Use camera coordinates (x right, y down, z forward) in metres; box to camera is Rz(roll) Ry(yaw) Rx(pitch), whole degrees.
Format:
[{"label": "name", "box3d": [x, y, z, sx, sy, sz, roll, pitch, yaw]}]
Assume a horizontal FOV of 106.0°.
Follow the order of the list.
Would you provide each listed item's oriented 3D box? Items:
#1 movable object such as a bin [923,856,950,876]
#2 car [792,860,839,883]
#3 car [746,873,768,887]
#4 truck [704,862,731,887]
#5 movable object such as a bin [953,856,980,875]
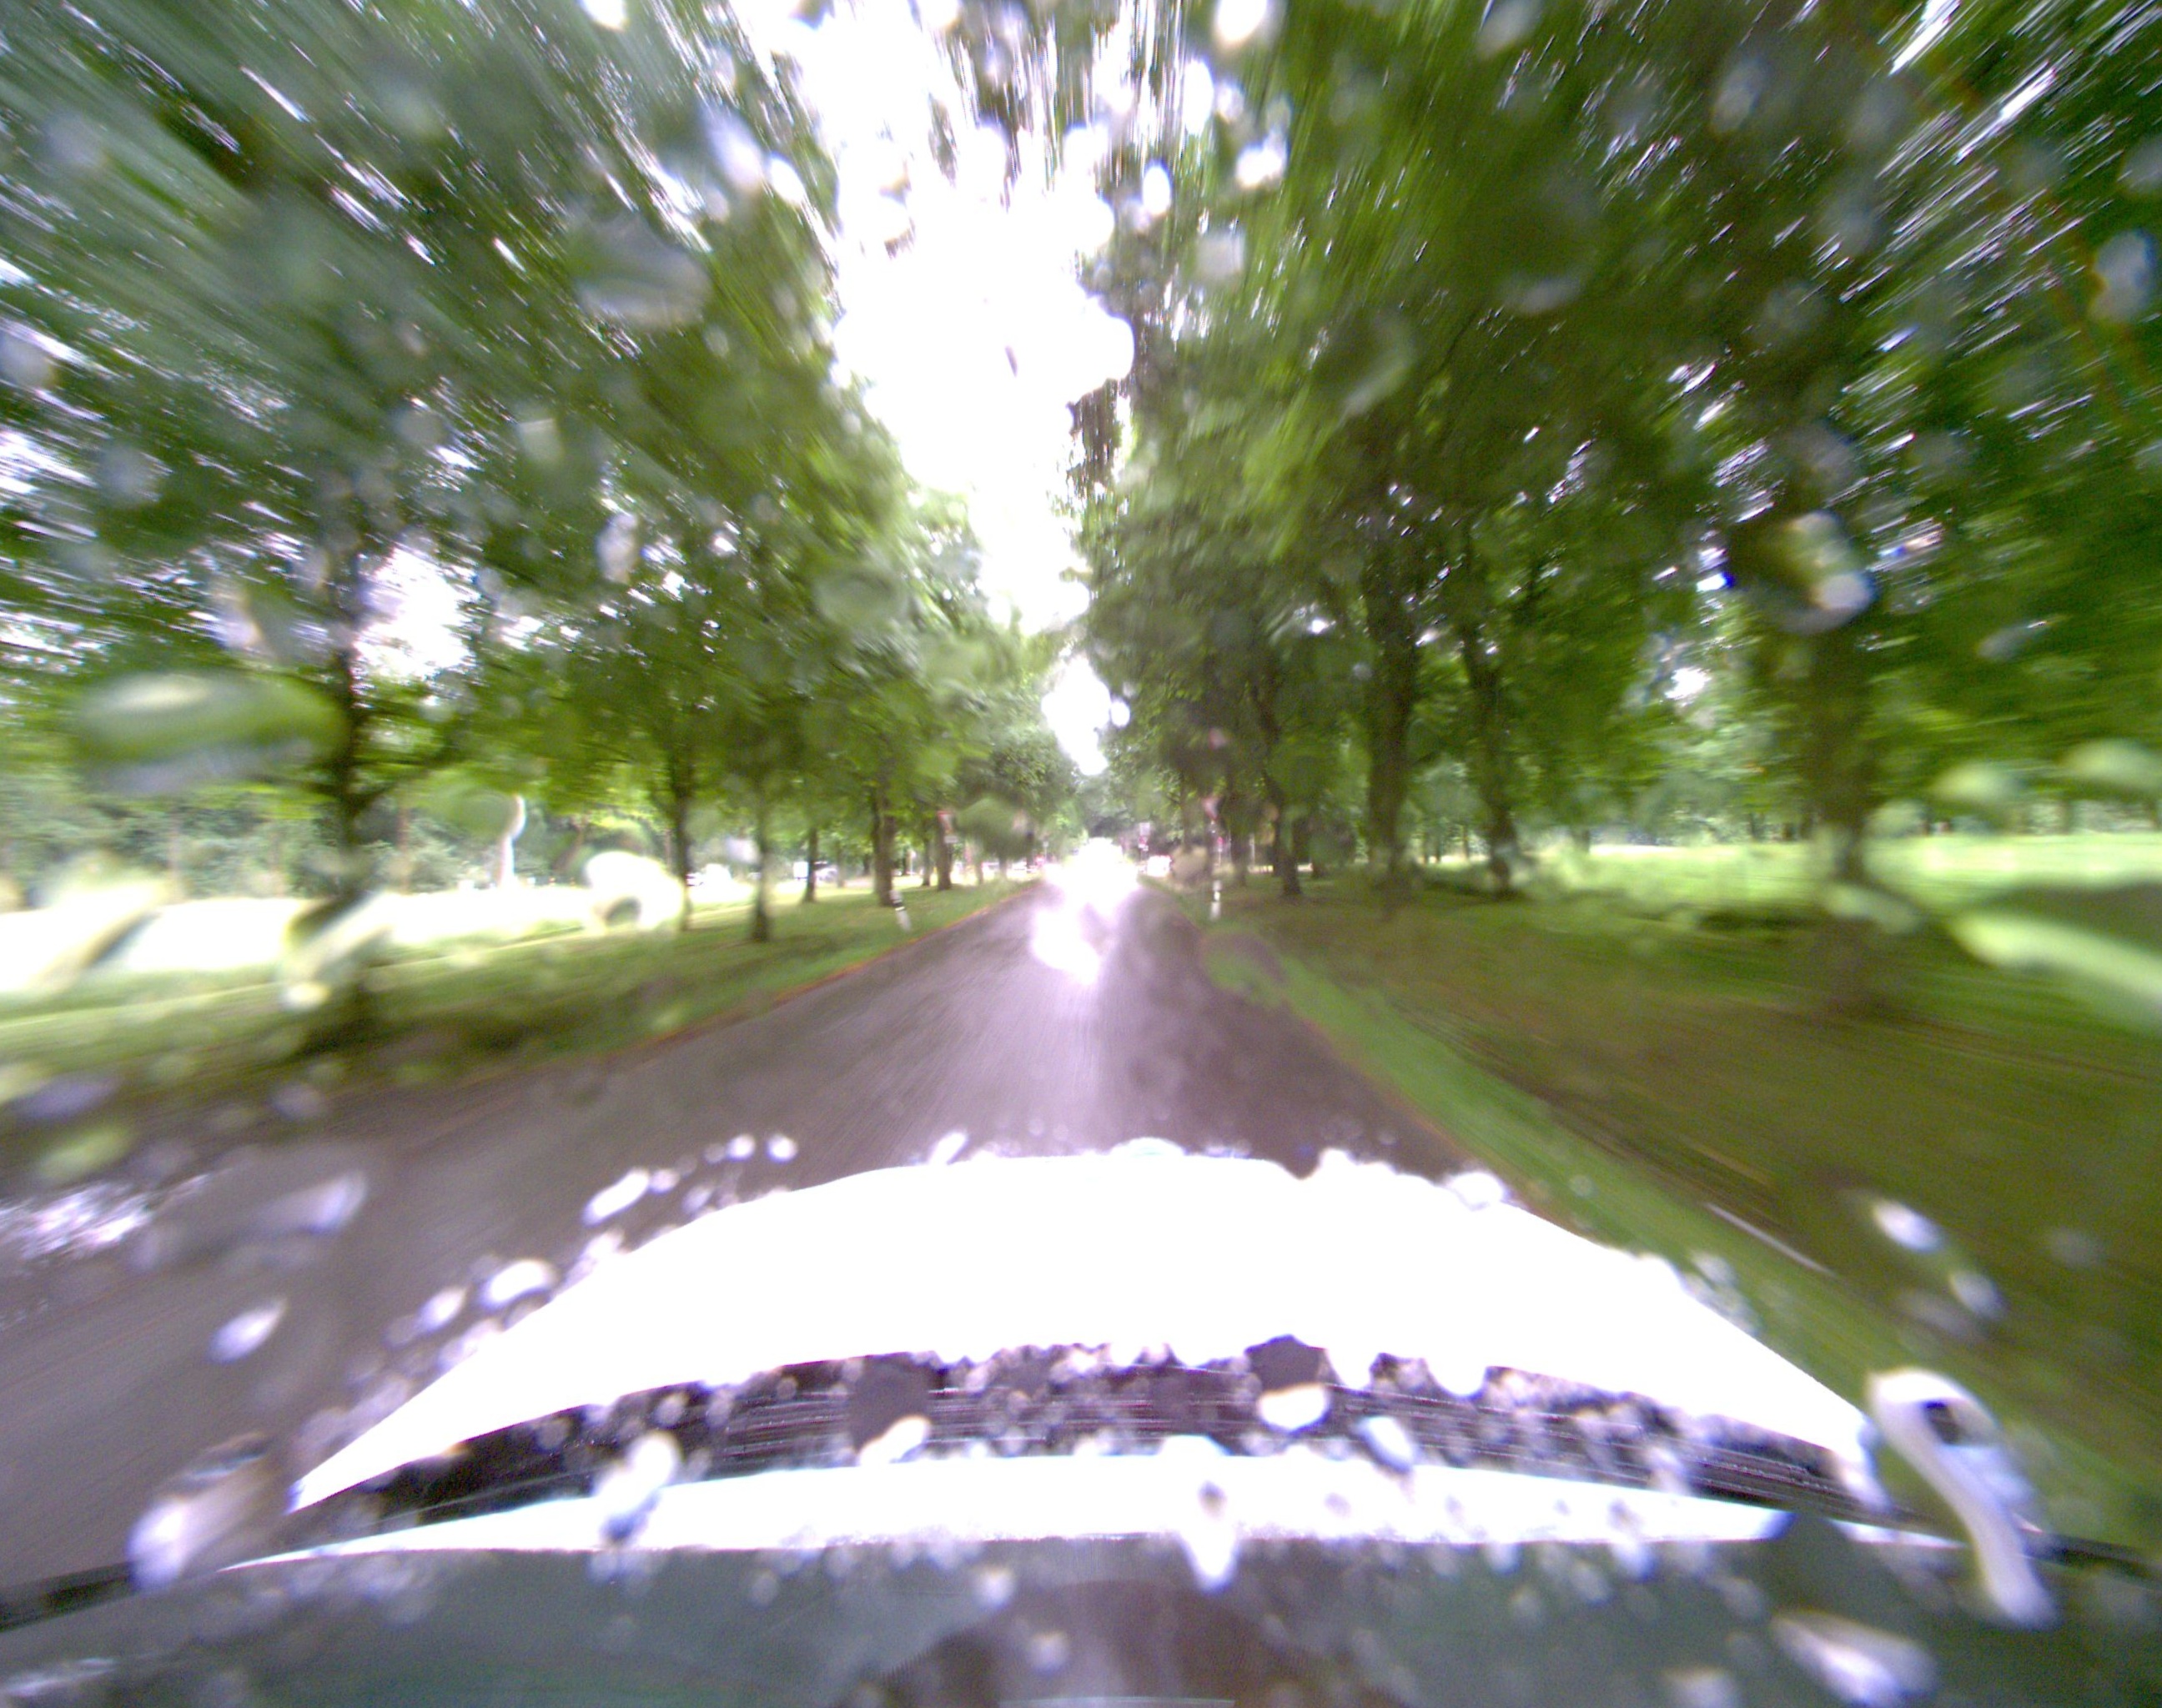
[{"label": "movable object such as a bin", "box3d": [-25.582, 2.062, 144.557, 4.655, 3.294, 3.900, -2, -1, -10]}, {"label": "car", "box3d": [-29.495, 1.946, 90.339, 5.908, 2.408, 2.407, -3, -3, 43]}, {"label": "car", "box3d": [-34.090, 2.723, 85.657, 1.767, 1.429, 4.083, -2, -1, -17]}, {"label": "truck", "box3d": [-37.613, 2.116, 84.243, 1.871, 2.442, 3.334, -2, 0, -13]}, {"label": "movable object such as a bin", "box3d": [-20.538, 2.095, 146.118, 4.582, 3.294, 3.654, -2, -1, -10]}]
